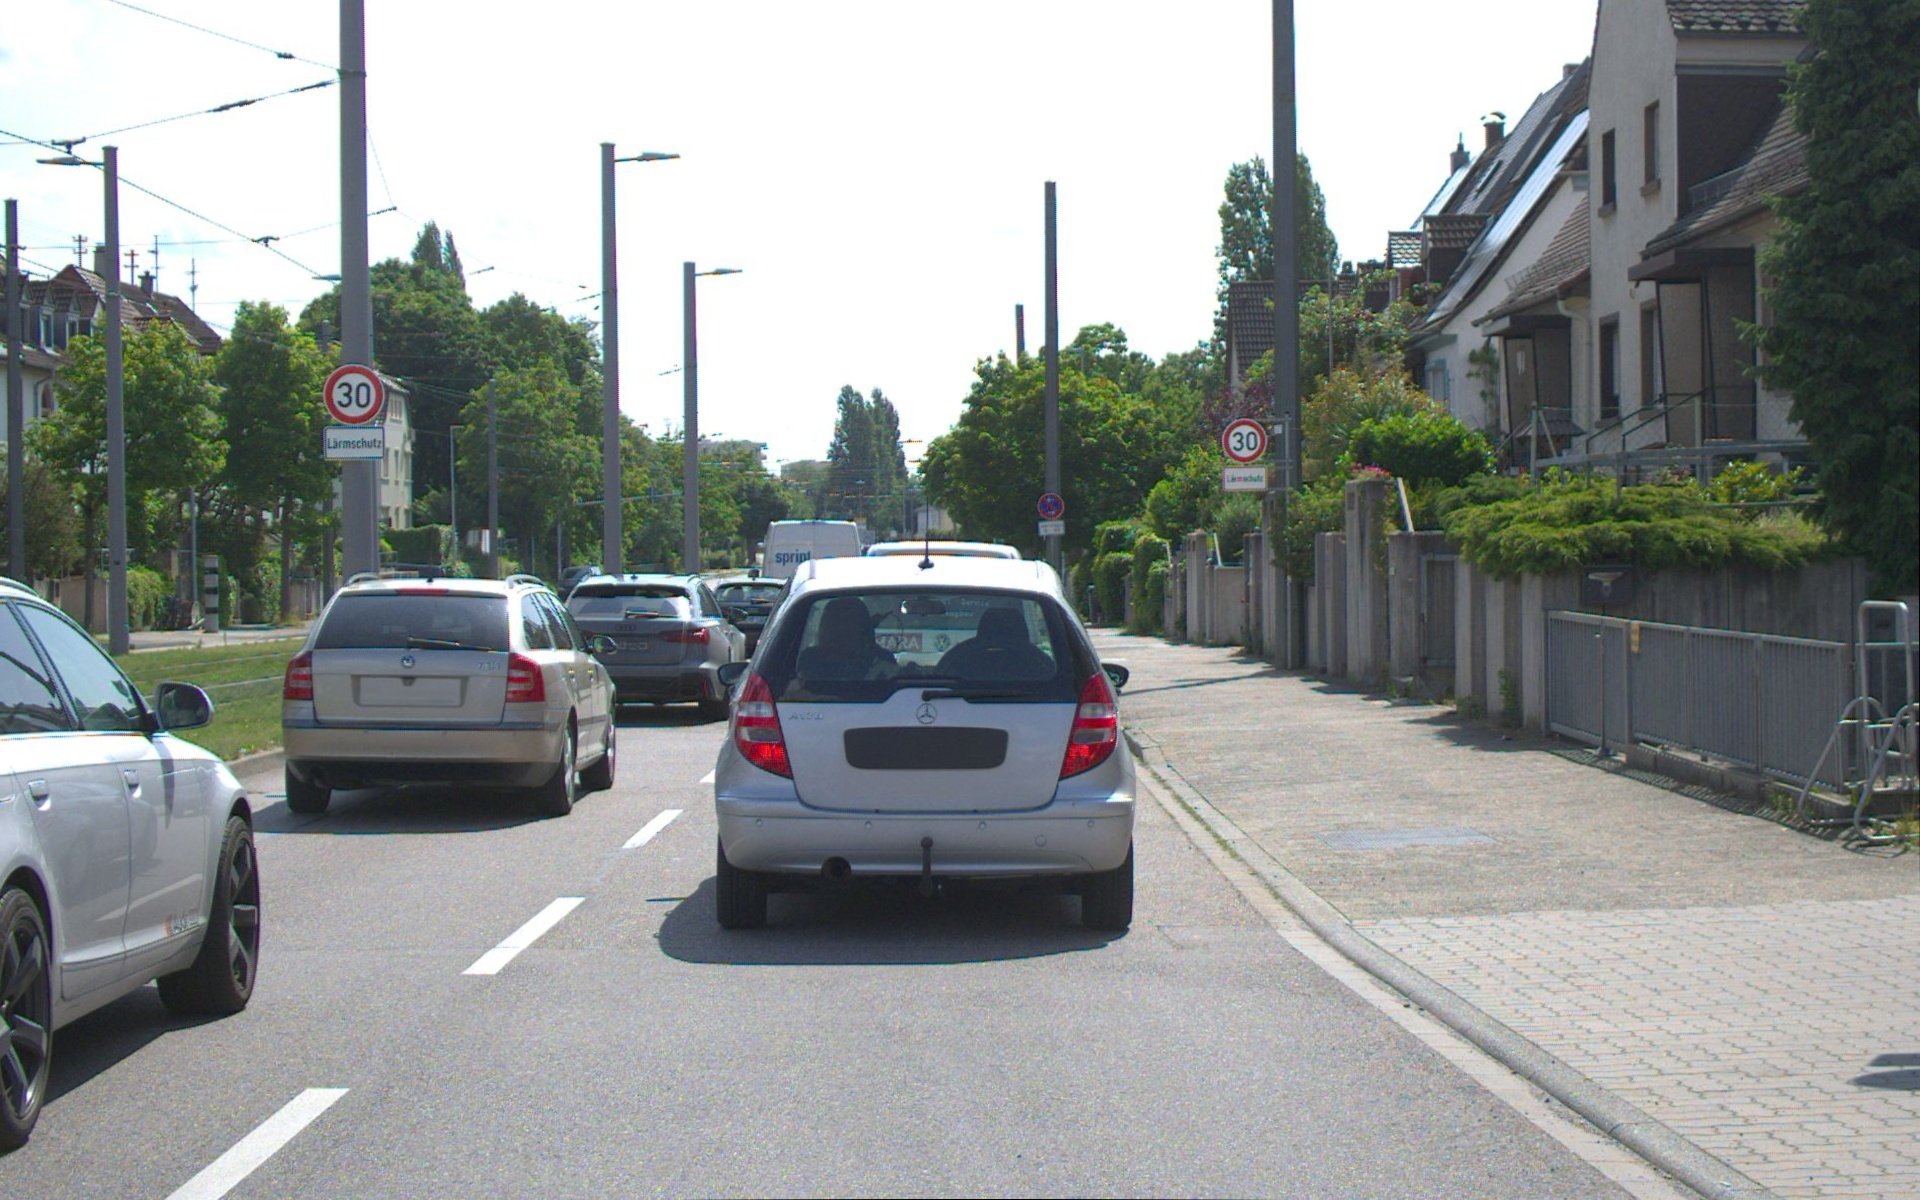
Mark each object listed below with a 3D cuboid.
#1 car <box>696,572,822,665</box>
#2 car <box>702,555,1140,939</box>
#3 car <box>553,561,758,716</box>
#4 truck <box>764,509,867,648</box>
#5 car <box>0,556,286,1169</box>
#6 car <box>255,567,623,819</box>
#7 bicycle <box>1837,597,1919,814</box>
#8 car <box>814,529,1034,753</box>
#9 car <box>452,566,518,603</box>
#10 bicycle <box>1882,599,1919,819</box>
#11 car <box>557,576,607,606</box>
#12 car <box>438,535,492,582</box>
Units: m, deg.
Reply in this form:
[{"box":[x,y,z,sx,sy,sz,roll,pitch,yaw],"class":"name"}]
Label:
[{"box":[-3.144,0.266,54.439,1.852,1.383,4.515,1,0,-2],"class":"car"},{"box":[-0.216,0.574,15.793,1.730,1.512,4.017,1,0,-2],"class":"car"},{"box":[-3.113,0.349,35.948,1.916,1.472,4.563,1,1,-3],"class":"car"},{"box":[-2.767,-0.424,66.301,1.852,2.543,5.855,1,0,-2],"class":"truck"},{"box":[-3.259,0.621,9.876,1.794,1.467,4.722,0,1,-1],"class":"car"},{"box":[-3.246,0.525,22.143,1.731,1.444,4.123,1,0,0],"class":"car"},{"box":[6.136,0.521,18.313,2.726,1.116,0.691,-1,0,-1],"class":"bicycle"},{"box":[-0.290,0.312,29.500,1.730,1.756,4.017,1,0,0],"class":"car"},{"box":[-19.437,-0.644,140.821,1.916,1.472,4.562,1,1,2],"class":"car"},{"box":[6.167,0.521,17.585,2.661,1.101,0.786,-1,0,-1],"class":"bicycle"},{"box":[-19.279,-0.474,175.328,1.916,1.472,4.562,1,1,2],"class":"car"},{"box":[-25.064,-2.109,174.160,1.916,2.322,4.562,1,1,2],"class":"car"}]
